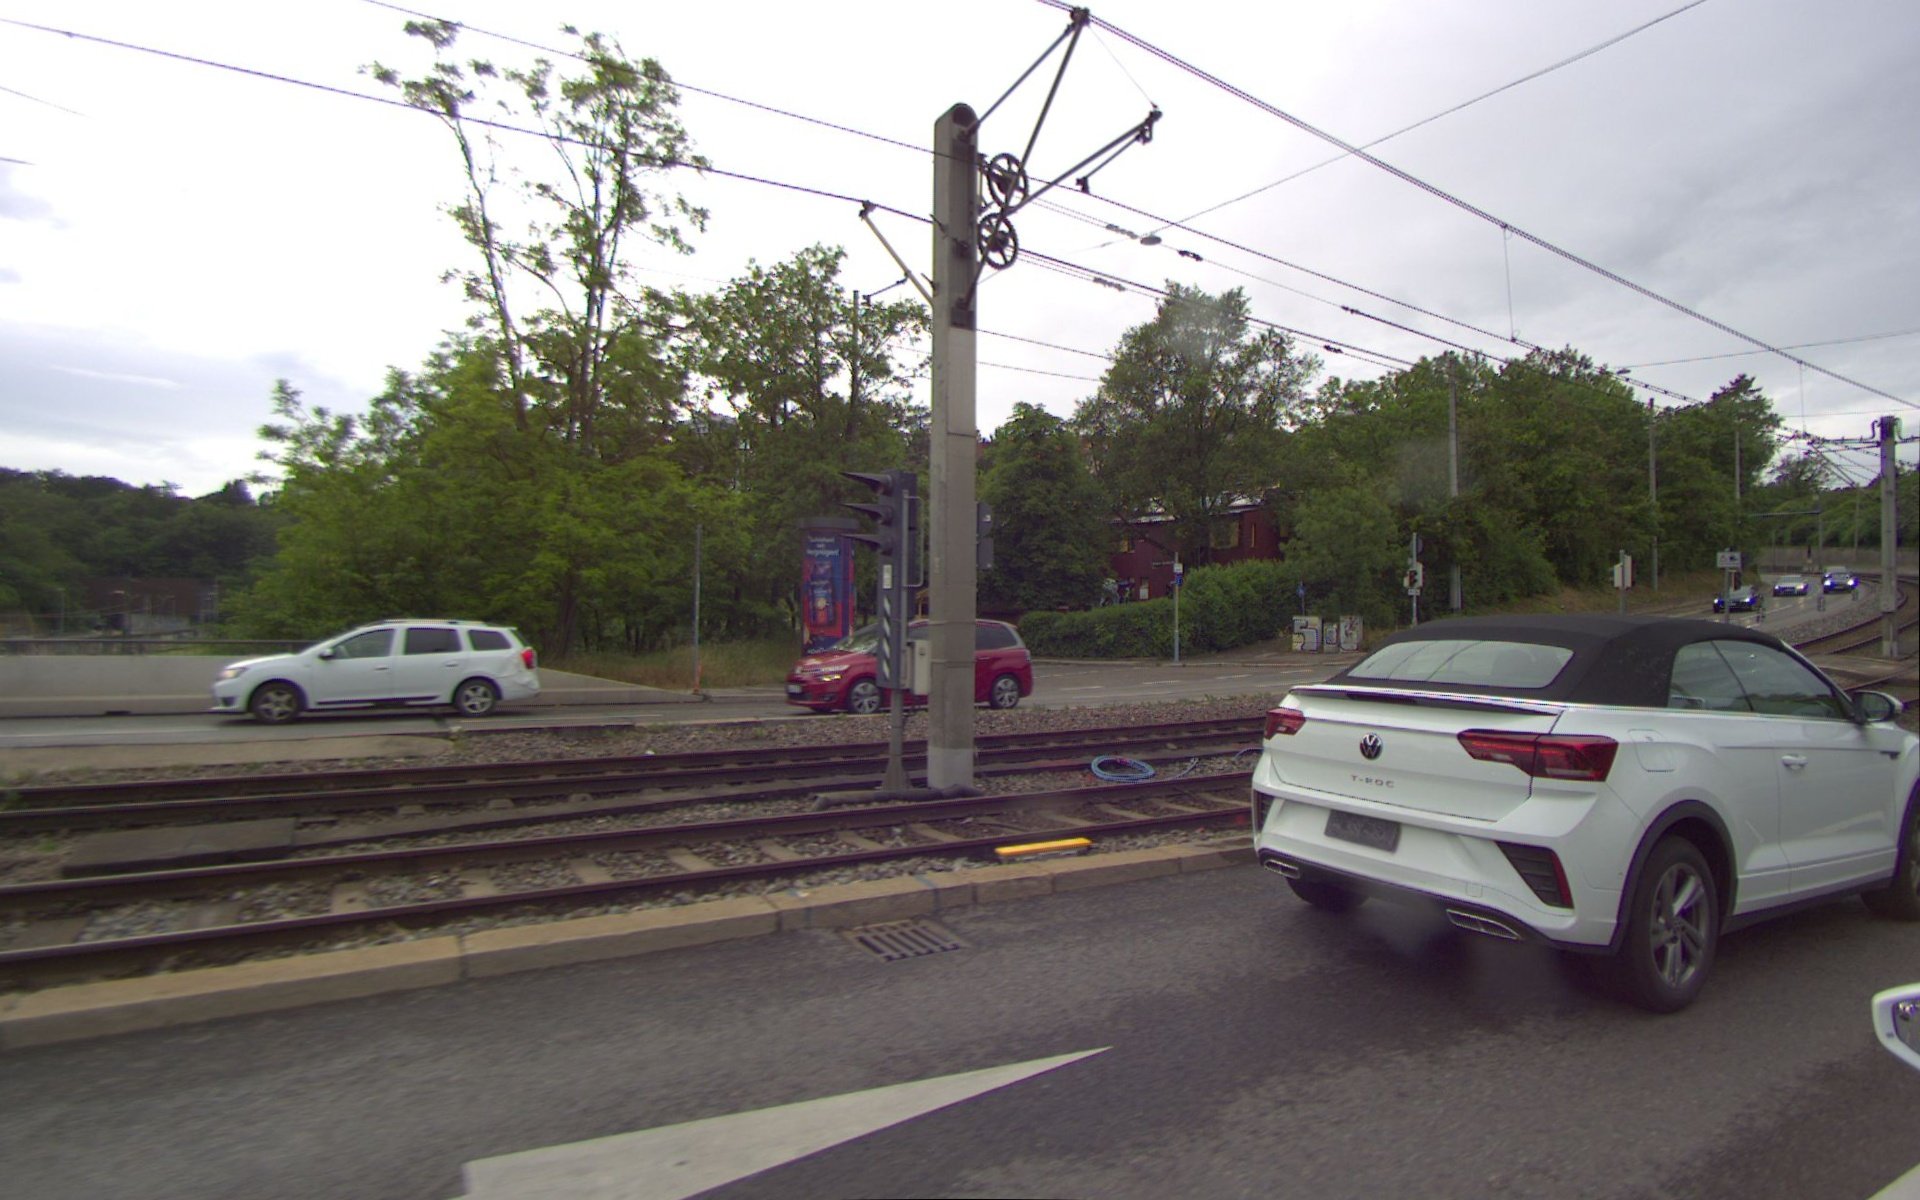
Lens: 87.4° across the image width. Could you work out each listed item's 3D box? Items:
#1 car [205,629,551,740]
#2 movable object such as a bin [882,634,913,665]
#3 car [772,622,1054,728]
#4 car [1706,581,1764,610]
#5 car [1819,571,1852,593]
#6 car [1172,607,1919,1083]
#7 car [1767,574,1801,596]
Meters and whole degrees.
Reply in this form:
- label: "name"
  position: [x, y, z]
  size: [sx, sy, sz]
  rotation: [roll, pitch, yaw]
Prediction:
- label: "car"
  position: [-9.009, 1.241, 15.853]
  size: [4.481, 1.535, 1.811]
  rotation: [2, -2, -33]
- label: "movable object such as a bin"
  position: [-3.039, 2.385, 48.839]
  size: [1.263, 1.445, 0.677]
  rotation: [2, 0, 21]
- label: "car"
  position: [-0.754, 1.227, 17.657]
  size: [4.683, 1.618, 1.837]
  rotation: [1, -2, -34]
- label: "car"
  position: [44.441, -0.256, 57.552]
  size: [4.238, 1.478, 1.702]
  rotation: [-2, -1, -39]
- label: "car"
  position: [63.704, -1.325, 73.131]
  size: [1.614, 1.402, 3.876]
  rotation: [-4, -1, 40]
- label: "car"
  position: [3.412, 0.817, 5.241]
  size: [4.488, 1.544, 1.862]
  rotation: [0, -1, -31]
- label: "car"
  position: [60.107, -1.111, 73.280]
  size: [1.798, 1.398, 4.683]
  rotation: [-3, 0, 39]
